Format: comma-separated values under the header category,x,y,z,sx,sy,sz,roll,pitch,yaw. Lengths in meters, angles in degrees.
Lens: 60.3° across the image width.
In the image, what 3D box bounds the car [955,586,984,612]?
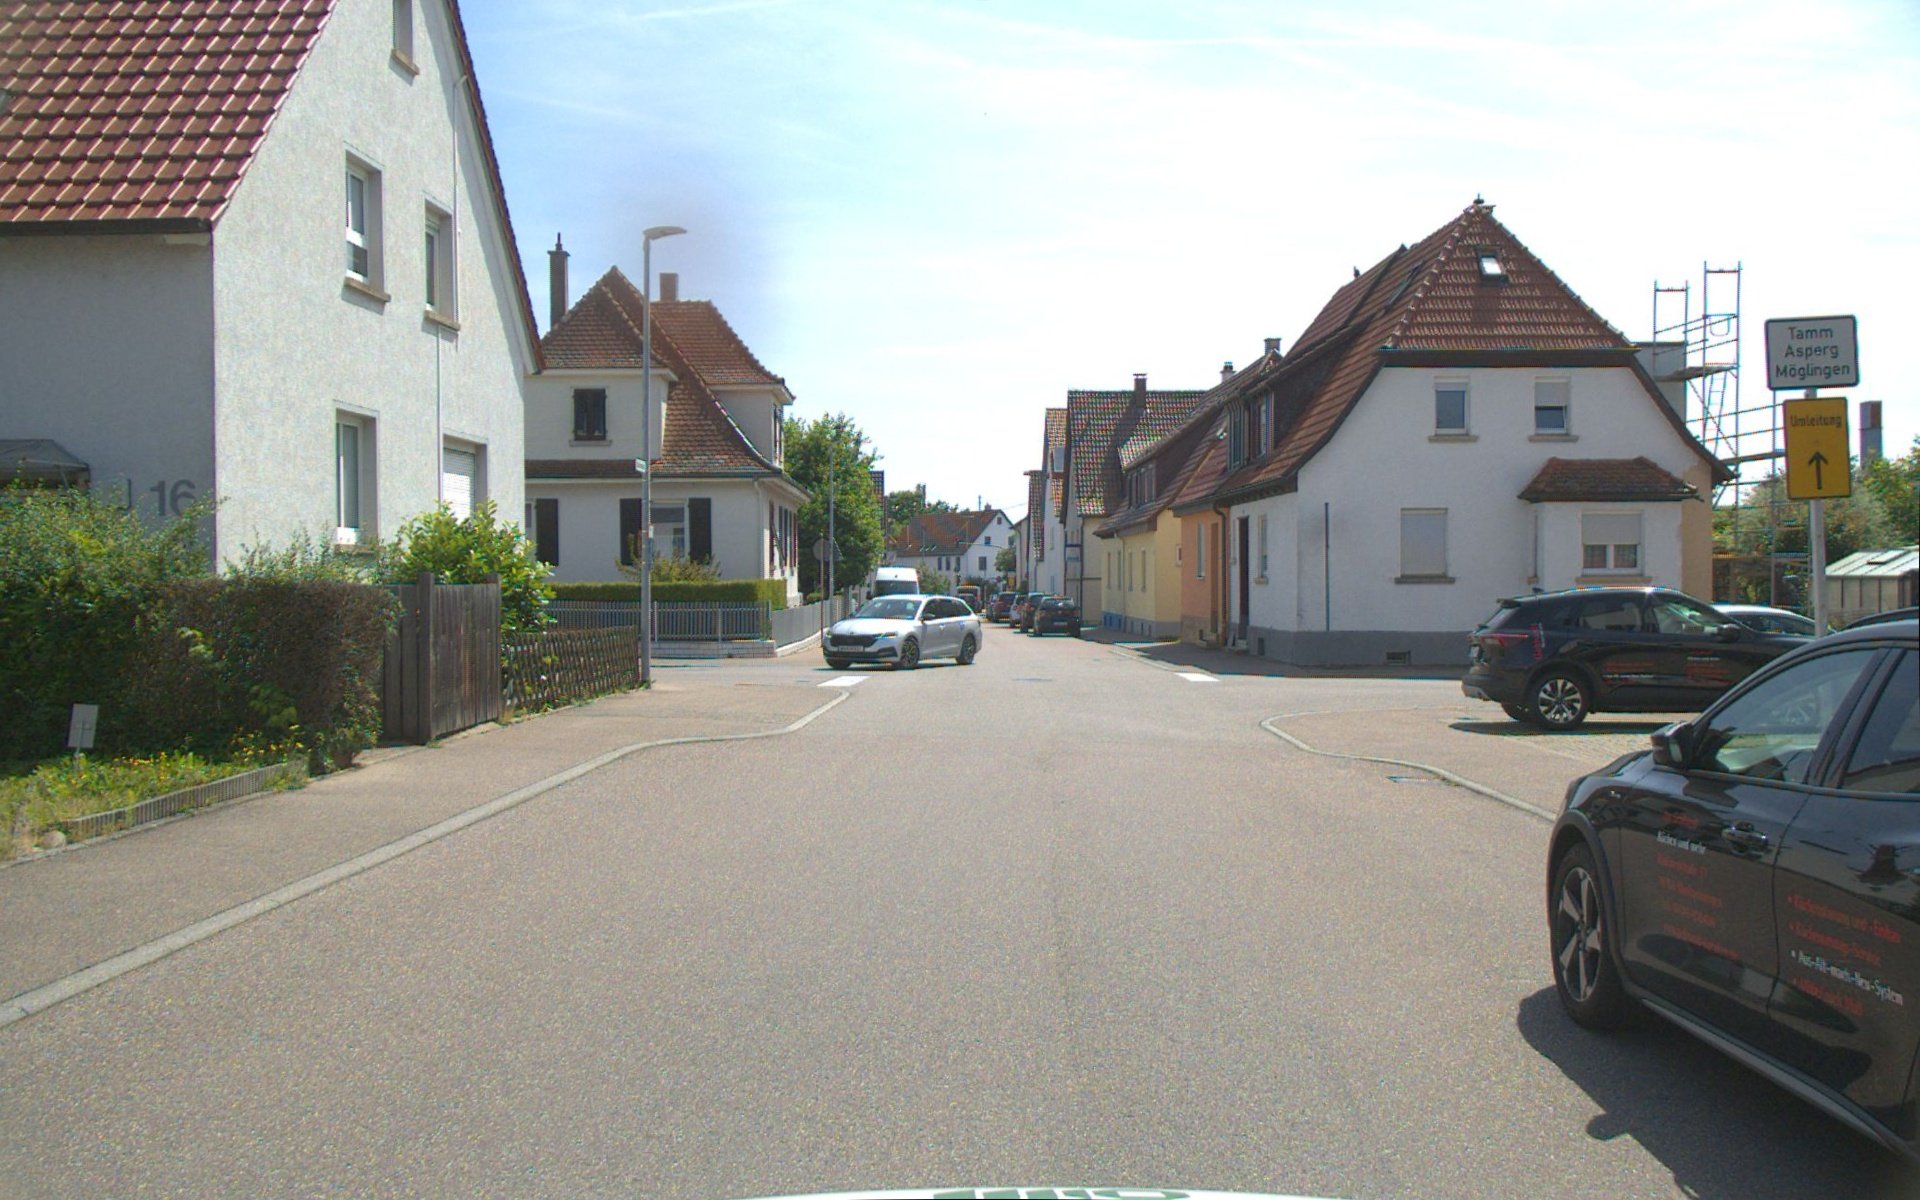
category,x,y,z,sx,sy,sz,roll,pitch,yaw
car,0.846,-0.098,139.446,2.084,2.196,4.739,-1,0,5

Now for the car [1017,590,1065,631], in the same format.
category,x,y,z,sx,sy,sz,roll,pitch,yaw
car,3.264,0.408,67.237,1.693,1.628,4.252,0,0,-1

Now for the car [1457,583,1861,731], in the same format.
category,x,y,z,sx,sy,sz,roll,pitch,yaw
car,8.403,0.648,20.226,4.202,1.682,1.849,0,0,7

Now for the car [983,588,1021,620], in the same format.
category,x,y,z,sx,sy,sz,roll,pitch,yaw
car,2.363,0.209,94.080,1.838,1.730,4.180,0,0,-3

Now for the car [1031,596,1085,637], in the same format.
category,x,y,z,sx,sy,sz,roll,pitch,yaw
car,3.609,0.592,61.467,1.579,1.456,3.751,0,0,-3

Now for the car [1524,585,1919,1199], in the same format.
category,x,y,z,sx,sy,sz,roll,pitch,yaw
car,3.075,0.759,4.430,1.725,1.553,4.407,1,0,2

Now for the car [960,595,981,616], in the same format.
category,x,y,z,sx,sy,sz,roll,pitch,yaw
car,0.809,0.399,125.286,1.484,1.594,3.185,0,0,2

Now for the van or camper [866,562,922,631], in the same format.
category,x,y,z,sx,sy,sz,roll,pitch,yaw
van or camper,-2.635,-0.150,66.819,2.140,2.616,6.805,1,0,-2

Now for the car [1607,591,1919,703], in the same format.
category,x,y,z,sx,sy,sz,roll,pitch,yaw
car,11.613,0.642,23.928,3.902,1.530,1.696,0,0,7

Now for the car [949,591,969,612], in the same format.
category,x,y,z,sx,sy,sz,roll,pitch,yaw
car,-0.068,0.118,128.997,1.484,1.653,3.185,0,0,2

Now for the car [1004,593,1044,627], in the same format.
category,x,y,z,sx,sy,sz,roll,pitch,yaw
car,3.049,0.455,79.172,1.640,1.586,3.038,0,0,-3

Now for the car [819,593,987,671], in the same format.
category,x,y,z,sx,sy,sz,roll,pitch,yaw
car,-1.071,0.600,33.709,1.717,1.463,4.587,0,0,22
